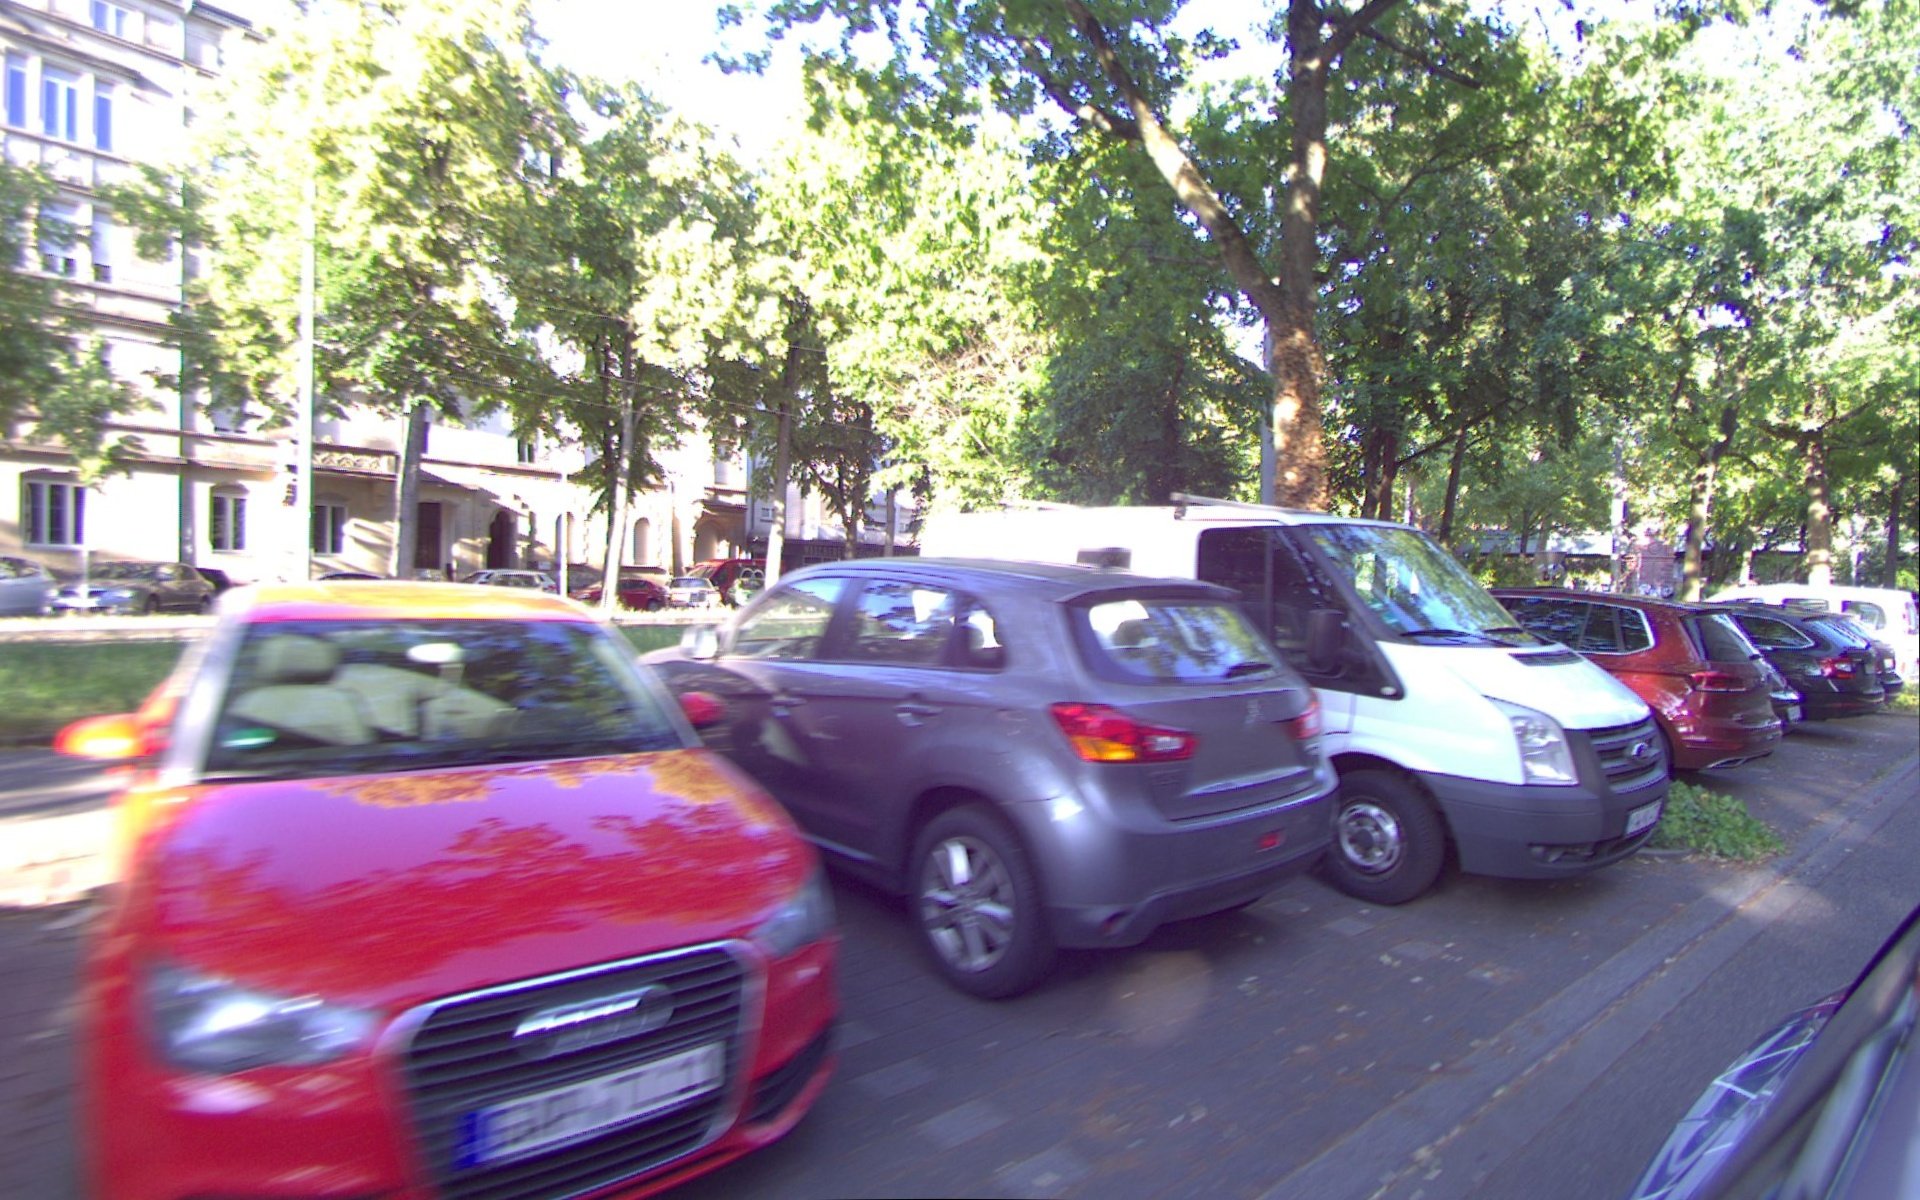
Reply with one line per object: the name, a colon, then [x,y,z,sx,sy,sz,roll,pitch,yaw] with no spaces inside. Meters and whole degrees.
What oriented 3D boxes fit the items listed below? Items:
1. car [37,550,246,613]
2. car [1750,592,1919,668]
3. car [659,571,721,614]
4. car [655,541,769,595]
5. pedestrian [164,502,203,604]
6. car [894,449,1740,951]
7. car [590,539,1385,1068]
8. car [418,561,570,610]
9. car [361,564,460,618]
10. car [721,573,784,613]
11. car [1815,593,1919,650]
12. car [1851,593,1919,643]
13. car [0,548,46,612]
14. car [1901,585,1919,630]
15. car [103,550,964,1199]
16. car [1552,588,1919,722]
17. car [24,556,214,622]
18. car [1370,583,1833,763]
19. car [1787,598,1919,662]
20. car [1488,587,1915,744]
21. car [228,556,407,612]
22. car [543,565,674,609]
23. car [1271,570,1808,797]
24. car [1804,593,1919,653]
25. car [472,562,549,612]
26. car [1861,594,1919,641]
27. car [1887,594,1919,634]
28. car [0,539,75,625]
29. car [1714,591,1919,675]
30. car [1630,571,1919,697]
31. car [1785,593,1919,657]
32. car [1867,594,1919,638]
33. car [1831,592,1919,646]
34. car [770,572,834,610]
car: [-22.764,-0.517,28.280,1.989,1.587,4.186,3,2,37]
car: [20.413,0.648,22.676,1.654,1.507,3.996,0,2,-40]
car: [-9.251,-0.286,34.467,1.711,1.294,4.010,1,2,-19]
car: [-10.699,-1.377,43.987,1.990,2.199,4.550,3,2,38]
pedestrian: [-23.192,-1.402,30.221,0.916,2.984,0.690,2,1,38]
car: [1.860,0.310,6.704,2.117,2.063,4.856,0,2,-40]
car: [-0.221,0.530,5.122,1.735,1.599,3.994,0,2,-42]
car: [-16.641,-0.517,36.307,1.990,1.587,4.550,3,2,38]
car: [-14.746,-0.295,27.346,1.711,1.294,4.010,1,2,-19]
car: [-7.679,-0.295,37.233,1.711,1.294,4.010,1,2,-19]
car: [27.553,0.638,29.314,1.654,1.507,3.996,0,2,-40]
car: [31.284,0.630,32.151,1.654,1.507,4.262,0,2,-40]
car: [-25.522,-0.516,24.936,1.989,1.587,4.186,3,2,37]
car: [42.204,0.410,41.498,1.800,1.864,5.094,0,2,-40]
car: [-1.909,0.582,3.578,1.654,1.441,3.996,0,2,-40]
car: [11.004,0.664,14.514,1.654,1.507,3.996,0,2,-40]
car: [-18.313,-0.297,22.299,1.771,1.294,4.292,1,2,-19]
car: [6.865,0.634,11.199,1.654,1.507,3.996,0,2,-40]
car: [22.116,0.719,23.685,1.654,1.355,3.996,0,2,-40]
car: [9.031,0.667,12.620,1.654,1.507,3.996,0,2,-40]
car: [-20.087,-0.515,31.803,1.989,1.587,4.359,3,2,37]
car: [-13.856,-0.514,40.116,1.990,1.587,4.550,3,2,38]
car: [5.138,0.562,9.446,1.654,1.573,3.996,0,2,-40]
car: [25.811,0.640,27.630,1.654,1.507,3.996,0,2,-40]
car: [-12.939,-0.421,29.320,1.711,1.294,4.010,1,2,-19]
car: [32.972,0.627,33.663,1.654,1.507,4.262,0,2,-40]
car: [38.258,0.616,38.547,1.654,1.507,4.130,0,2,-40]
car: [-20.306,-0.399,20.606,1.771,1.716,4.292,1,2,-16]
car: [18.397,0.652,21.103,1.654,1.507,3.996,0,2,-40]
car: [14.297,0.486,17.659,1.654,1.855,3.996,0,2,-40]
car: [24.294,0.643,26.436,1.654,1.507,3.996,0,2,-40]
car: [34.795,0.622,35.565,1.654,1.507,4.130,0,2,-40]
car: [29.434,0.614,30.861,1.654,1.541,4.130,0,2,-40]
car: [-6.188,-0.379,39.214,1.711,1.294,4.010,1,2,-19]
